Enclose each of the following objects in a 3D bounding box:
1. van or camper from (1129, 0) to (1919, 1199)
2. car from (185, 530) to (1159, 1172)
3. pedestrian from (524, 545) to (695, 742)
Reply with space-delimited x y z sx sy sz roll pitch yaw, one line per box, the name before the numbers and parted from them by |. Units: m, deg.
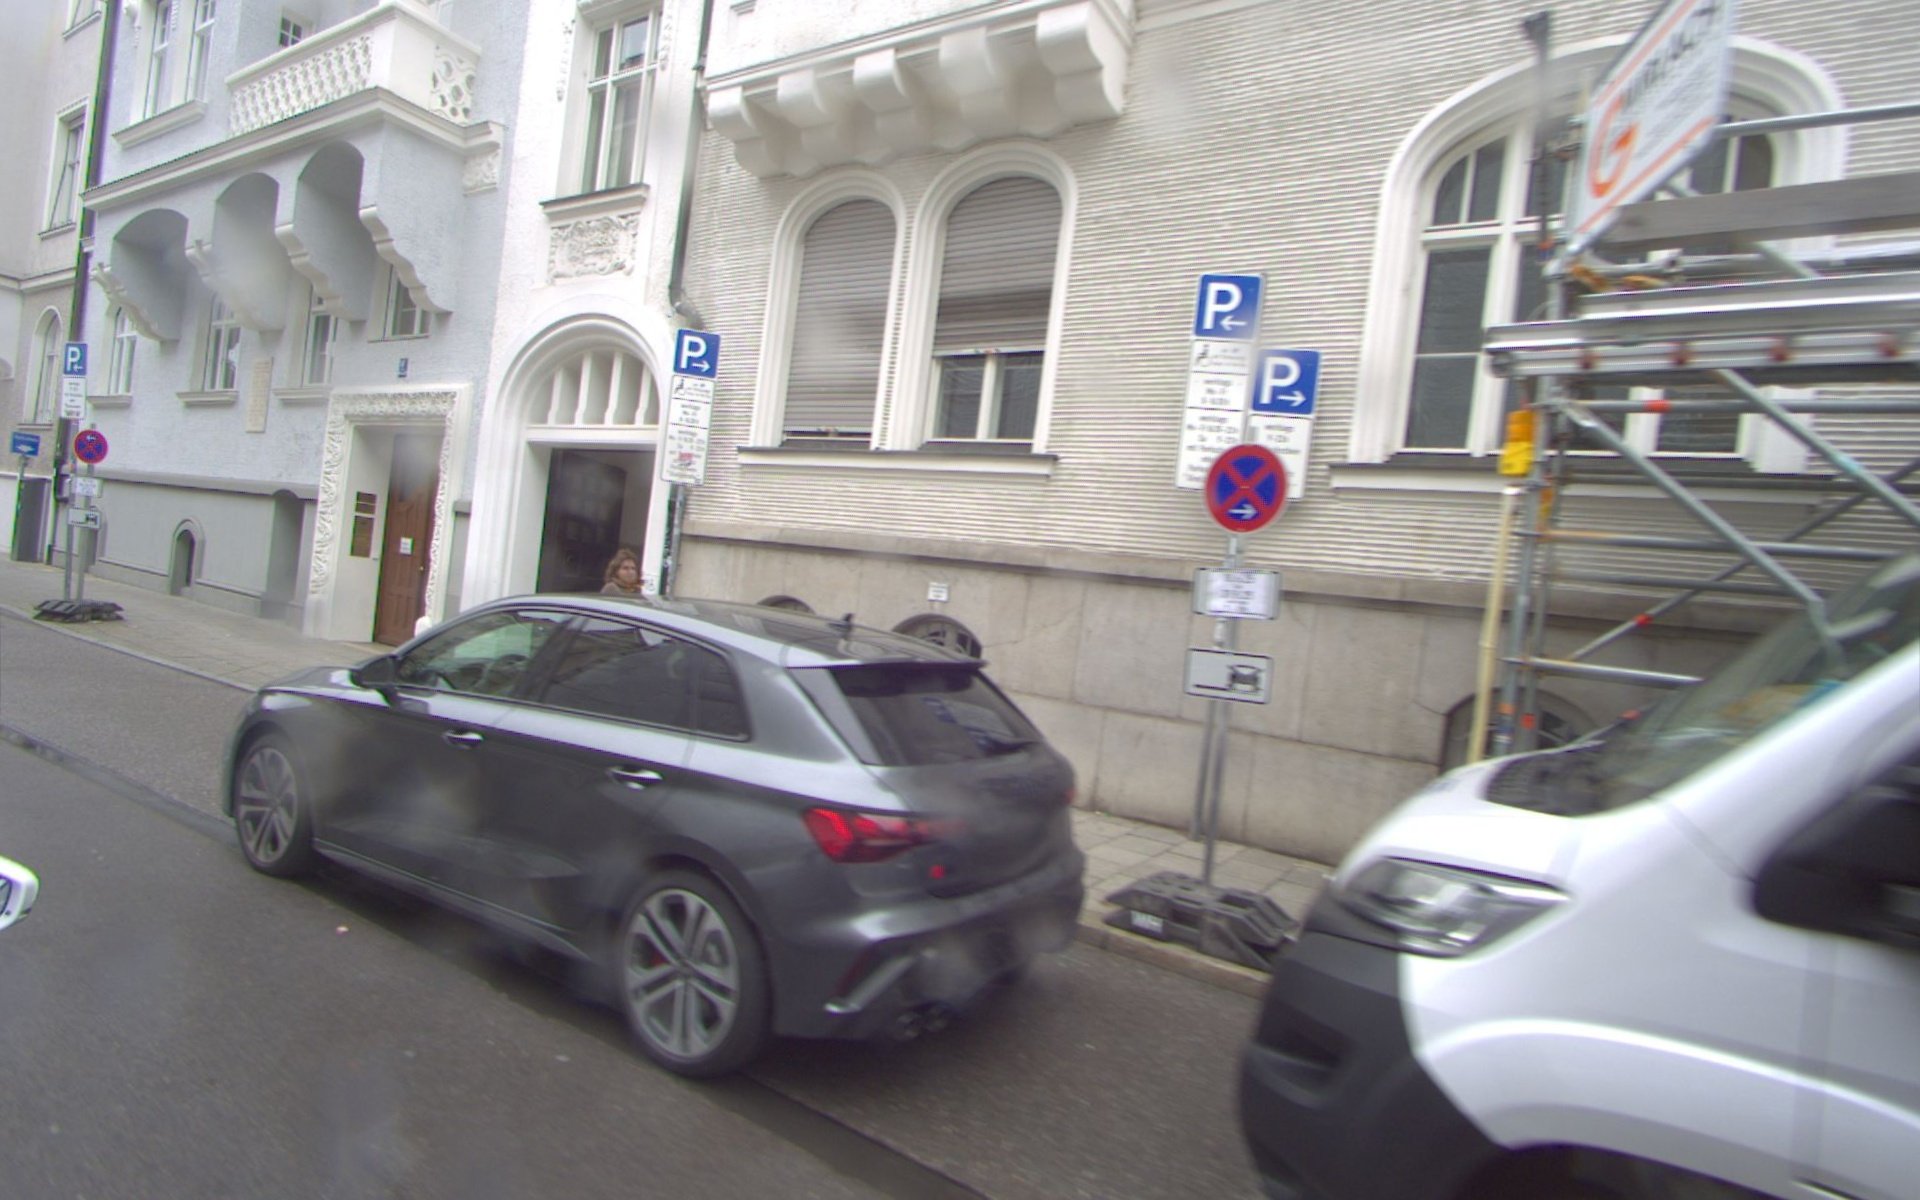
van or camper | 3.230 0.572 1.505 5.368 2.669 1.955 7 0 32
car | -1.407 0.647 4.432 4.018 1.452 1.756 7 0 31
pedestrian | -3.085 0.361 8.879 1.000 1.575 0.920 5 2 31
